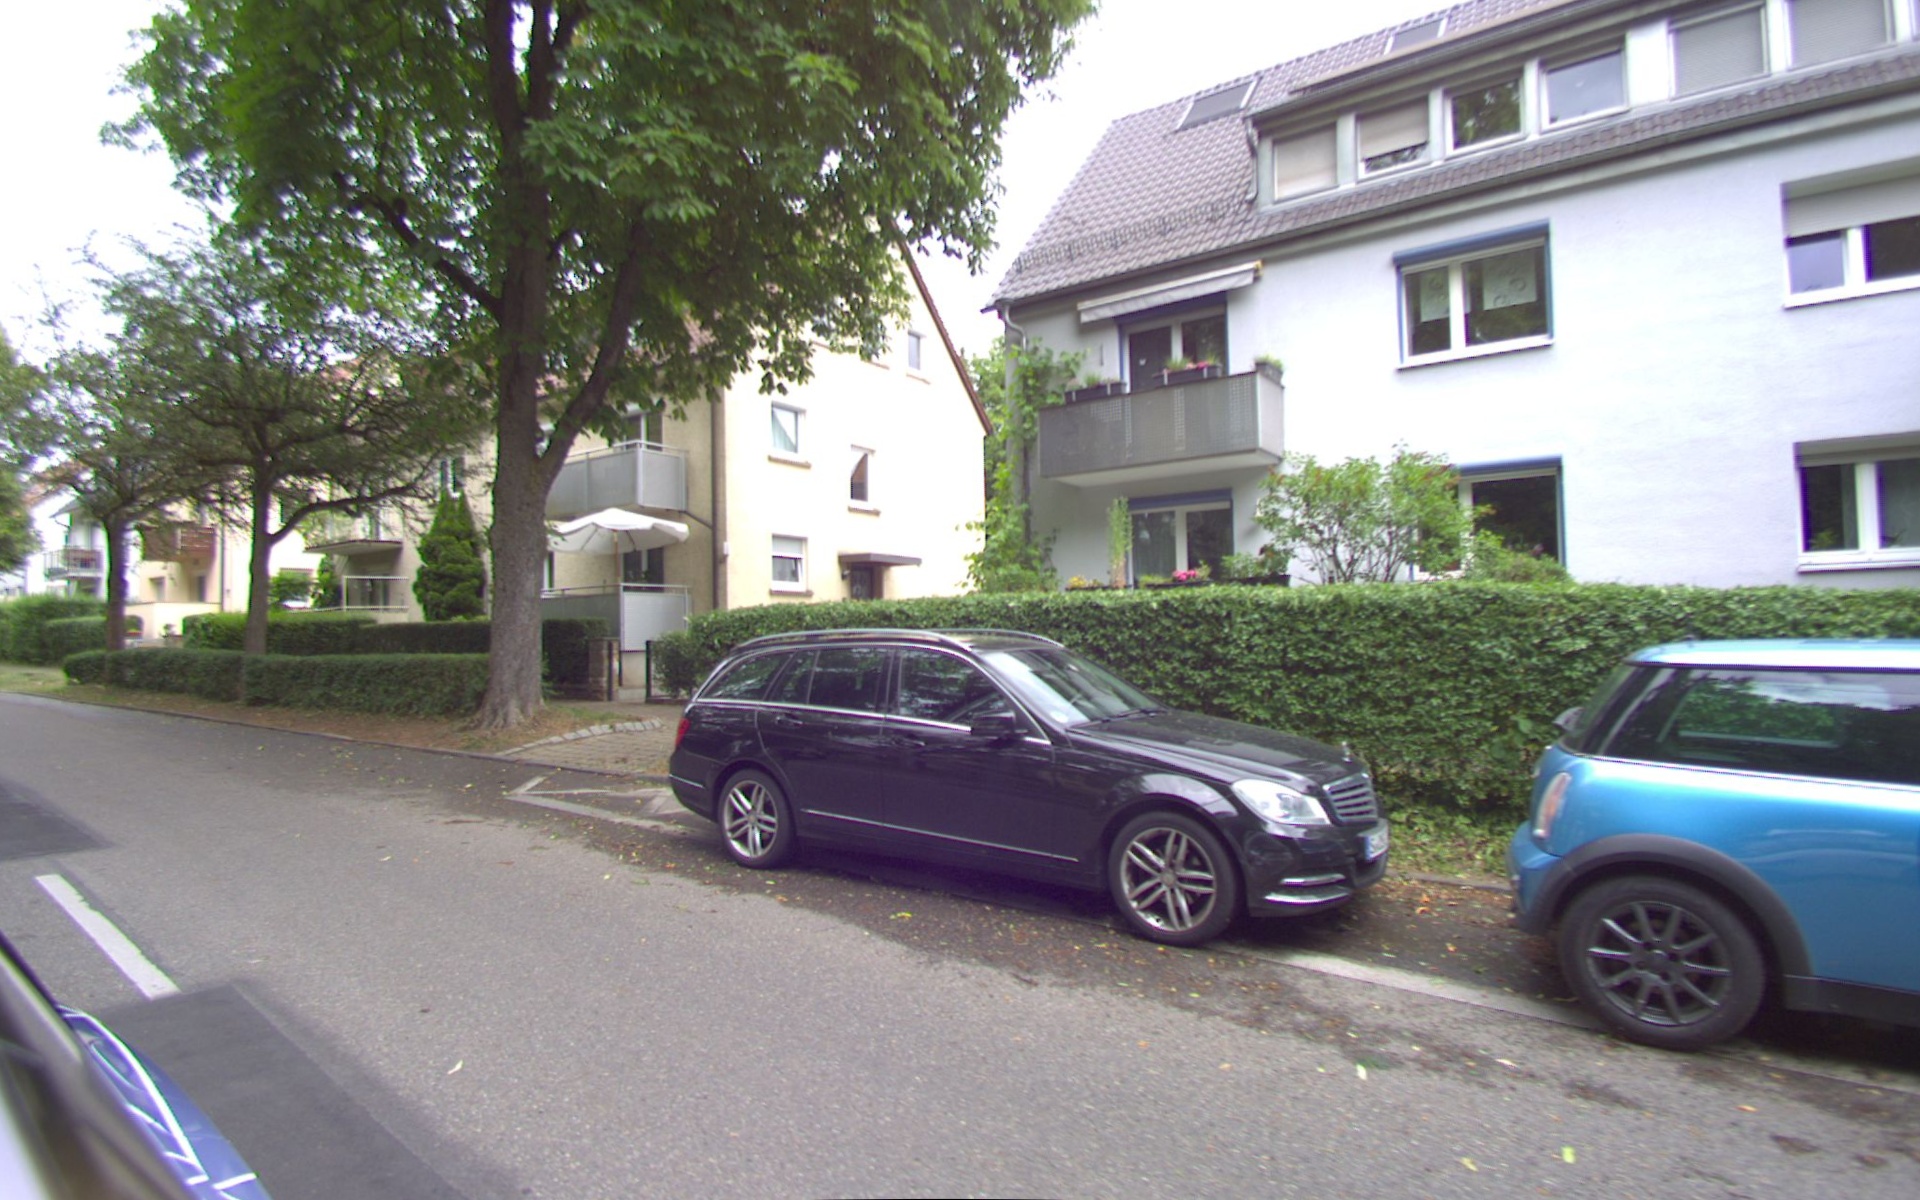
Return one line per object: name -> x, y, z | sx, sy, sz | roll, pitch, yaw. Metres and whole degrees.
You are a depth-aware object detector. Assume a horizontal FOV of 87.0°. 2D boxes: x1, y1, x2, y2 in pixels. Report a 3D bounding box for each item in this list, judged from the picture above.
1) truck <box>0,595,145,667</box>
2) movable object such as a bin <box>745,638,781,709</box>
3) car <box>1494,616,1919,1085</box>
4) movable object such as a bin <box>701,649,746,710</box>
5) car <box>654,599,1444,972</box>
truck -> -41.920, 1.457, 47.061 | 2.511, 3.155, 5.749 | -2, -2, 33
movable object such as a bin -> -3.143, 1.162, 16.122 | 0.404, 1.097, 0.377 | -1, -3, 31
car -> 3.941, 0.767, 3.323 | 3.698, 1.402, 1.650 | -2, -3, 35
movable object such as a bin -> -3.700, 1.236, 15.871 | 0.506, 0.922, 0.452 | -1, -3, 31
car -> 0.331, 0.821, 6.054 | 4.407, 1.483, 1.779 | -2, -3, 35
